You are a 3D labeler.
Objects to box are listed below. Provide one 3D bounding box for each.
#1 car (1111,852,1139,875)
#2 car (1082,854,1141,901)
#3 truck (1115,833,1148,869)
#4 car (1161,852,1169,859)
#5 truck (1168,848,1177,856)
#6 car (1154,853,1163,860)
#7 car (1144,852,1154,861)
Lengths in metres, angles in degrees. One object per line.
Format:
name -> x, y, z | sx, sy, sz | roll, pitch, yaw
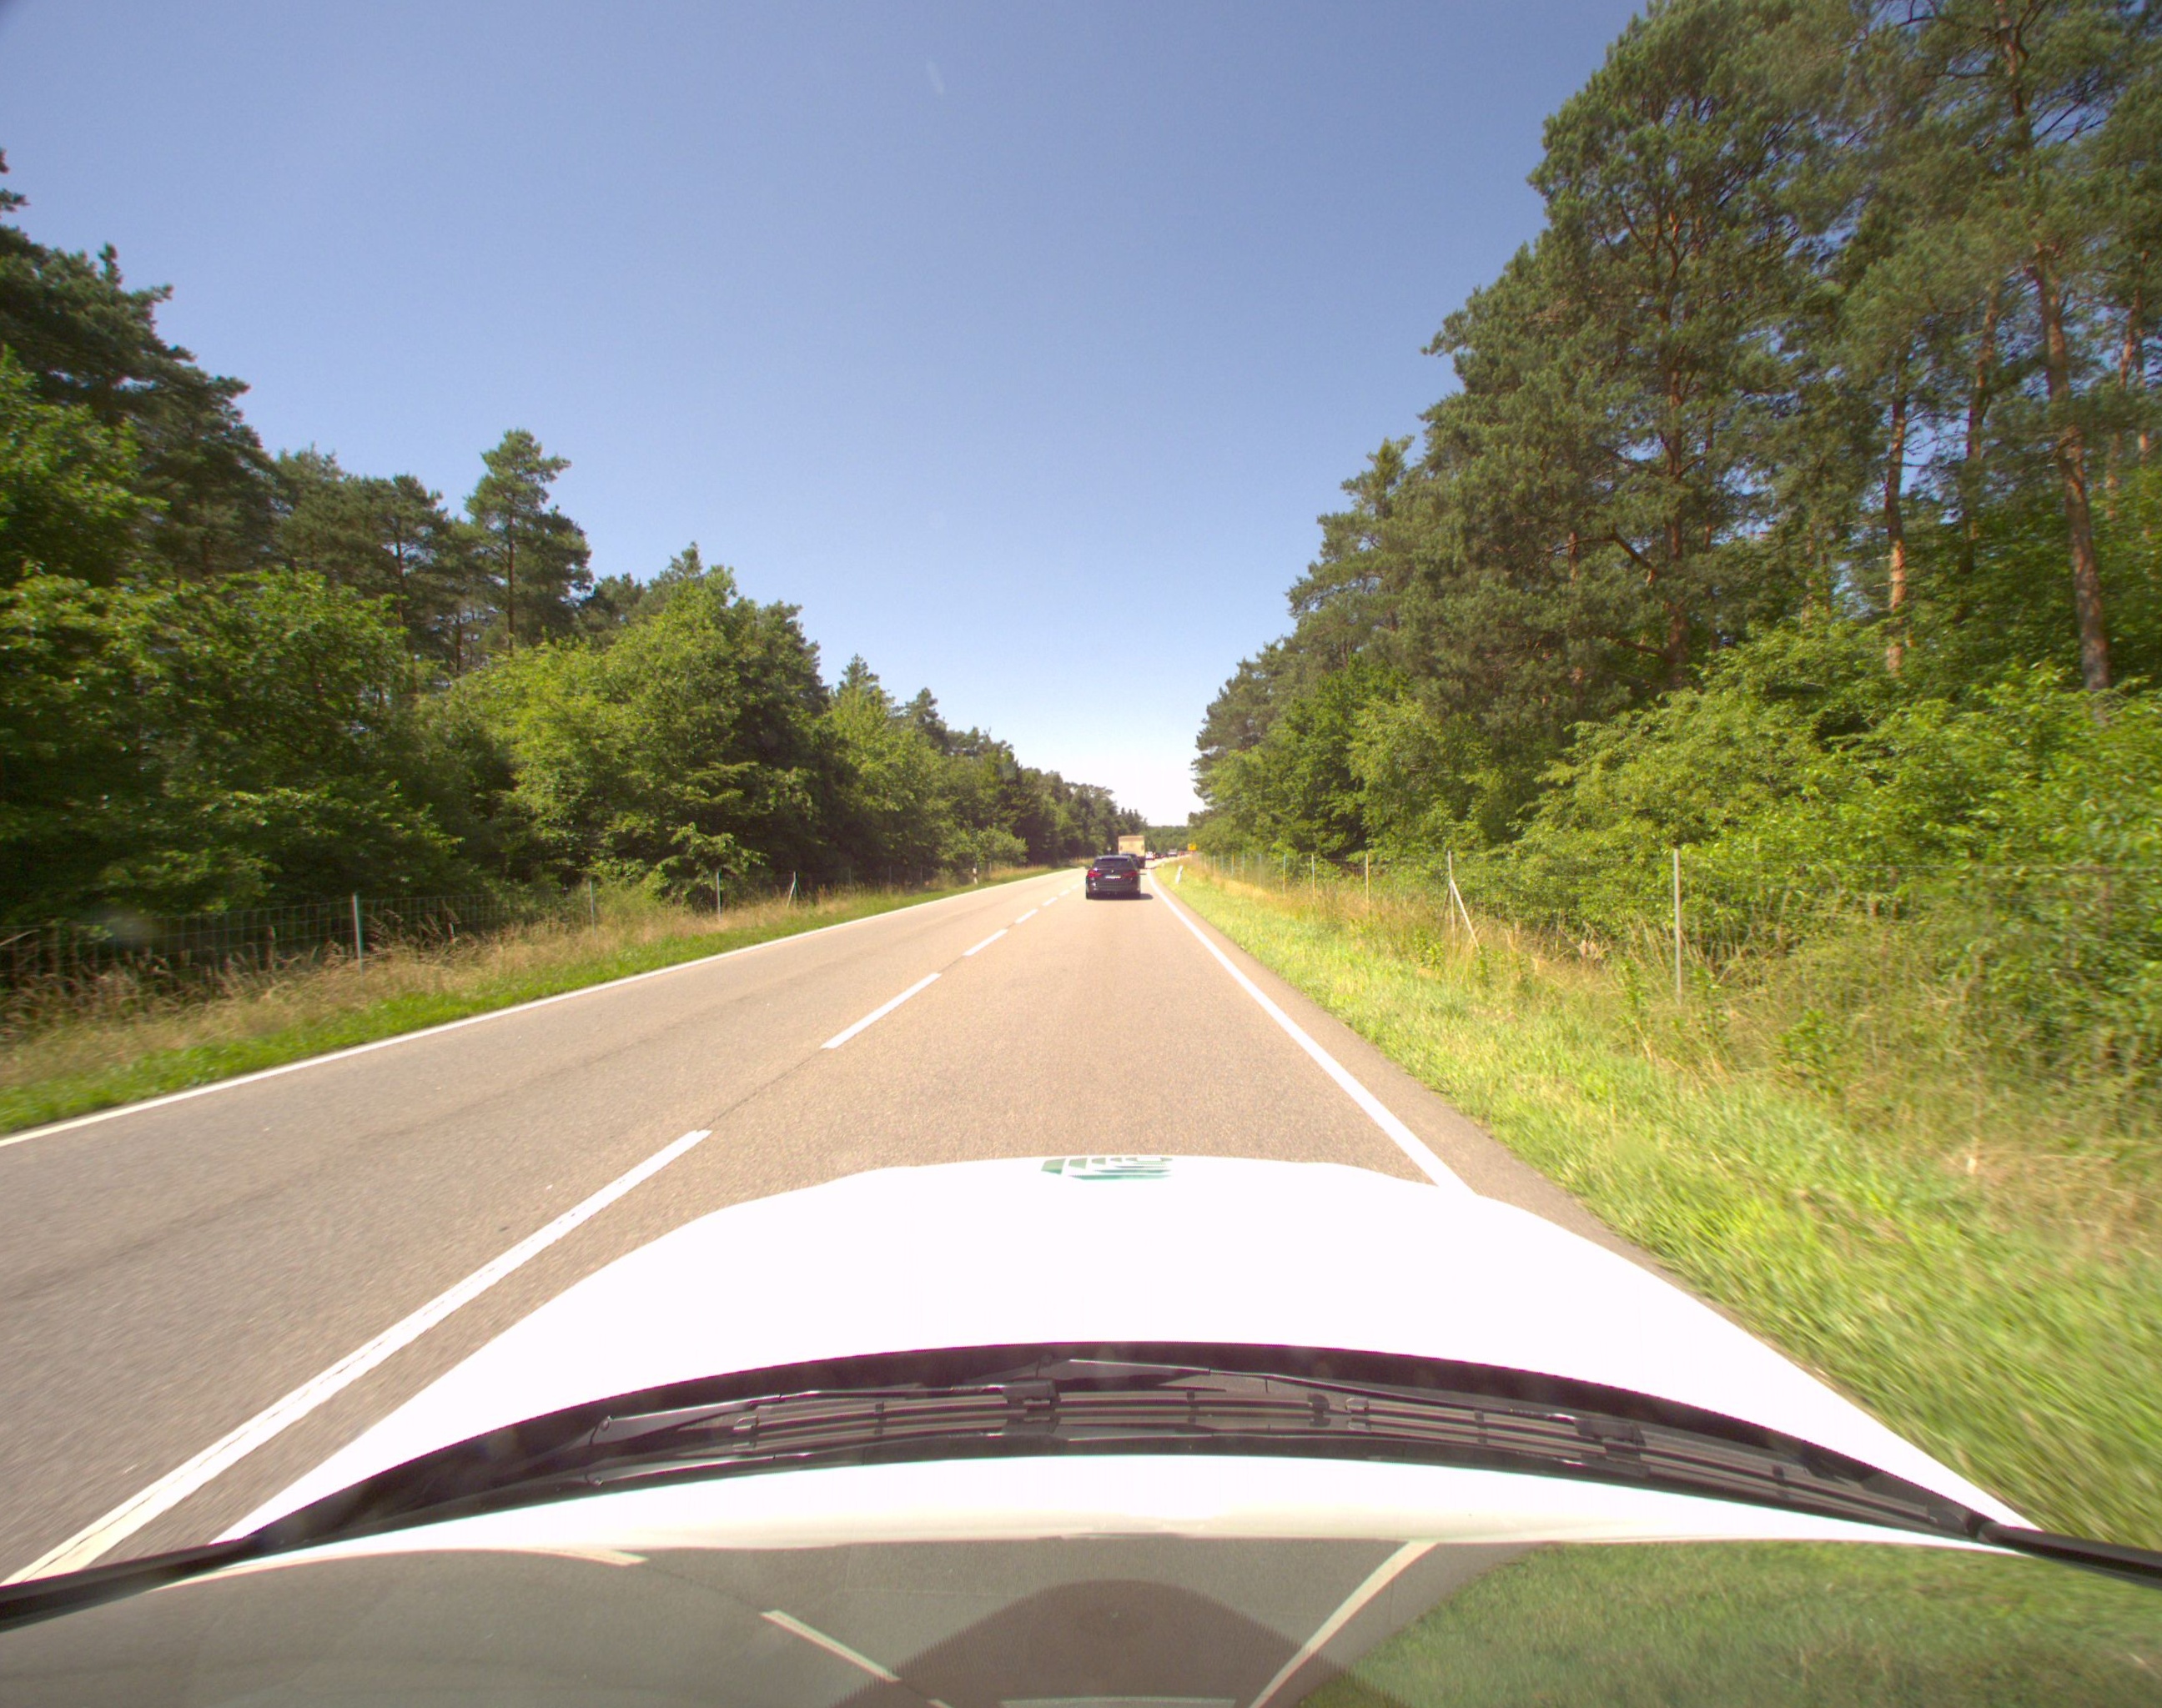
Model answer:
car -> 3.218, 0.682, 60.390 | 1.939, 1.541, 4.003 | -3, 0, 3
car -> 0.992, 0.755, 28.475 | 1.815, 1.470, 3.999 | -2, 0, -1
truck -> 5.138, -0.269, 81.543 | 2.951, 3.387, 6.448 | -2, 0, 5
car -> 21.585, 0.366, 210.110 | 1.983, 1.636, 4.007 | -3, 0, 6
truck -> 26.512, -0.473, 236.244 | 2.550, 2.202, 4.985 | -2, 0, 7
car -> 17.645, 0.590, 184.673 | 1.983, 1.420, 4.007 | -1, 0, 6
car -> 12.687, 0.412, 151.619 | 1.854, 1.605, 4.005 | -2, 0, 4
